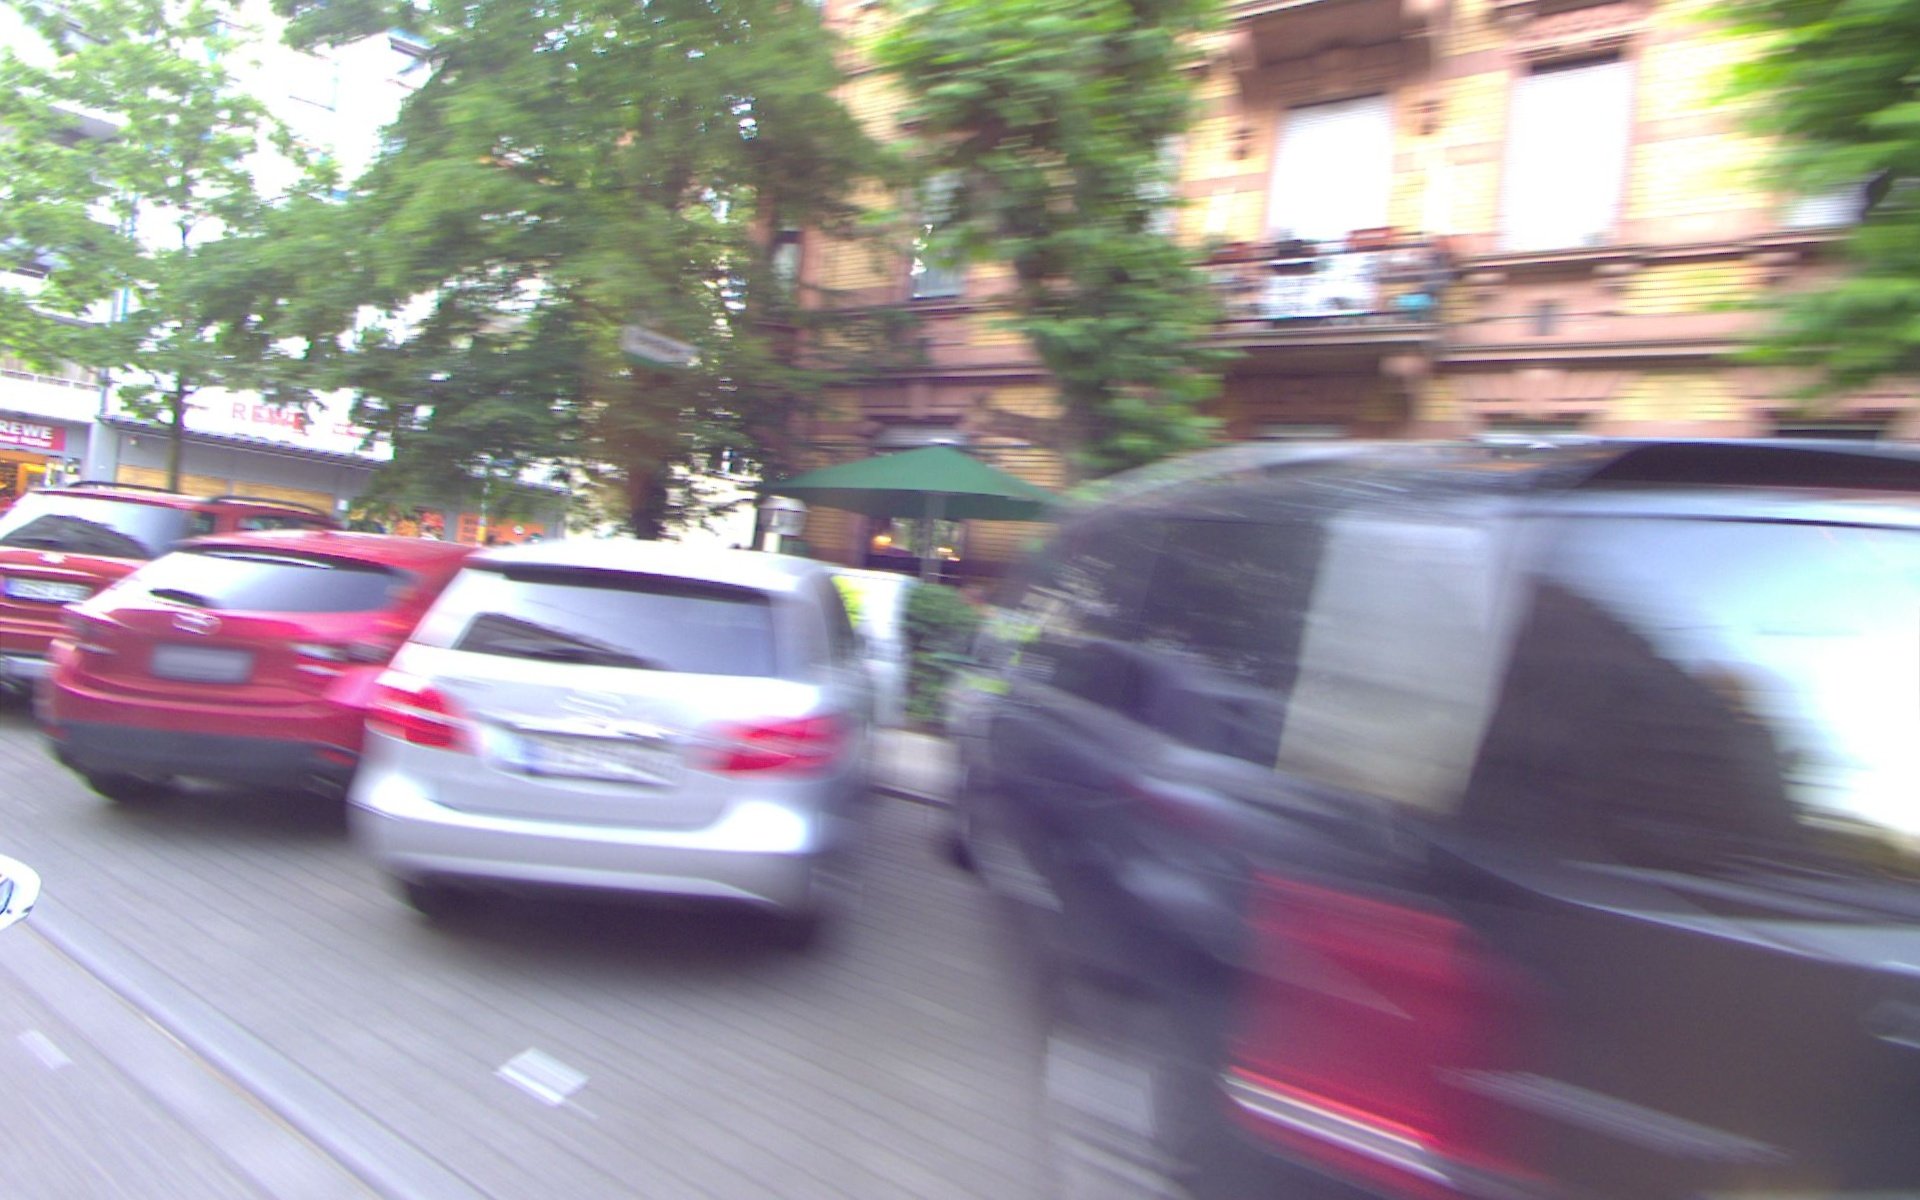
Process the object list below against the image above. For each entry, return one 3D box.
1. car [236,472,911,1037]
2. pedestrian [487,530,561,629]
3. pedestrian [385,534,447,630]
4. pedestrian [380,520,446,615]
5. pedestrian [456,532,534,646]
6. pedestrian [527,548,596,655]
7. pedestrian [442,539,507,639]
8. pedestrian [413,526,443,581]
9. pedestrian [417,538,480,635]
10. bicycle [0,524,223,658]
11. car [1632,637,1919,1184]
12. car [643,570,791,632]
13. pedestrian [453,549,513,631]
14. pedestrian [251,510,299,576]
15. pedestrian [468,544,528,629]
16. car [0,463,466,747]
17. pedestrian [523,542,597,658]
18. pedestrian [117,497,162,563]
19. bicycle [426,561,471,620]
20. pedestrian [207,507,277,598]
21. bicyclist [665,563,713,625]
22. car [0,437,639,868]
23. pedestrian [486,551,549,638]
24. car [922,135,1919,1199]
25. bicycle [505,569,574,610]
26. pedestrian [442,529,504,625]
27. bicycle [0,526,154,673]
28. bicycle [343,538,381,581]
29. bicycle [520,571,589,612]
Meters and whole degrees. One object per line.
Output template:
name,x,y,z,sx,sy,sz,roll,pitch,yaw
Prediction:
car,-1.350,0.448,5.341,1.898,1.644,4.219,6,2,-1
pedestrian,-8.795,-0.406,20.316,0.853,1.849,0.836,6,-1,27
pedestrian,-8.428,-0.273,15.587,0.459,1.396,0.546,6,-1,30
pedestrian,-11.374,-0.669,20.920,0.863,1.849,0.827,8,-1,-42
pedestrian,-6.202,-0.139,13.440,0.505,1.425,0.640,6,-1,20
pedestrian,-5.605,0.030,14.180,0.608,1.425,0.514,7,-1,-1
pedestrian,-7.201,-0.159,14.930,0.566,1.396,0.544,6,-1,39
pedestrian,-16.753,-1.463,31.657,0.659,1.620,0.713,7,-1,-28
pedestrian,-7.784,-0.205,15.320,0.459,1.396,0.546,6,-1,30
bicycle,-8.302,-0.075,9.819,1.735,1.076,0.599,7,-1,5
car,3.839,1.093,2.255,1.784,1.572,4.105,6,2,1
car,-8.381,0.033,34.759,4.460,1.544,2.002,6,-2,19
pedestrian,-7.920,-0.164,16.706,0.565,1.284,0.545,6,-1,33
pedestrian,-19.602,-1.627,28.802,0.654,1.746,0.723,7,-1,2
pedestrian,-7.447,-0.215,16.218,0.565,1.284,0.545,6,-1,33
car,-5.948,-0.045,8.210,1.661,1.649,4.046,7,1,0
pedestrian,-5.212,0.014,13.128,0.505,1.425,0.555,6,-1,20
pedestrian,-22.255,-1.882,27.295,0.711,1.671,0.708,7,-1,-32
bicycle,-10.960,-0.223,21.532,0.432,1.147,2.016,7,-2,-36
pedestrian,-15.292,-1.005,21.425,0.935,1.791,0.865,6,-1,41
bicyclist,-8.177,-0.180,30.352,0.781,1.710,0.992,7,1,45
car,-3.554,0.159,6.423,1.899,1.711,4.216,6,2,-6
pedestrian,-6.945,-0.081,15.796,0.565,1.284,0.545,6,-1,33
car,1.061,0.537,3.927,1.899,2.100,5.426,6,2,-6
bicycle,-13.098,-0.310,31.387,0.483,1.038,2.013,6,-2,30
pedestrian,-9.476,-0.434,19.609,0.825,1.744,0.865,7,-1,-21
bicycle,-7.767,-0.005,8.442,0.358,1.176,1.552,6,1,18
bicycle,-18.591,-1.233,31.303,0.343,1.217,1.806,7,-2,-13
bicycle,-12.478,-0.247,31.051,0.483,1.038,2.013,6,-2,30
